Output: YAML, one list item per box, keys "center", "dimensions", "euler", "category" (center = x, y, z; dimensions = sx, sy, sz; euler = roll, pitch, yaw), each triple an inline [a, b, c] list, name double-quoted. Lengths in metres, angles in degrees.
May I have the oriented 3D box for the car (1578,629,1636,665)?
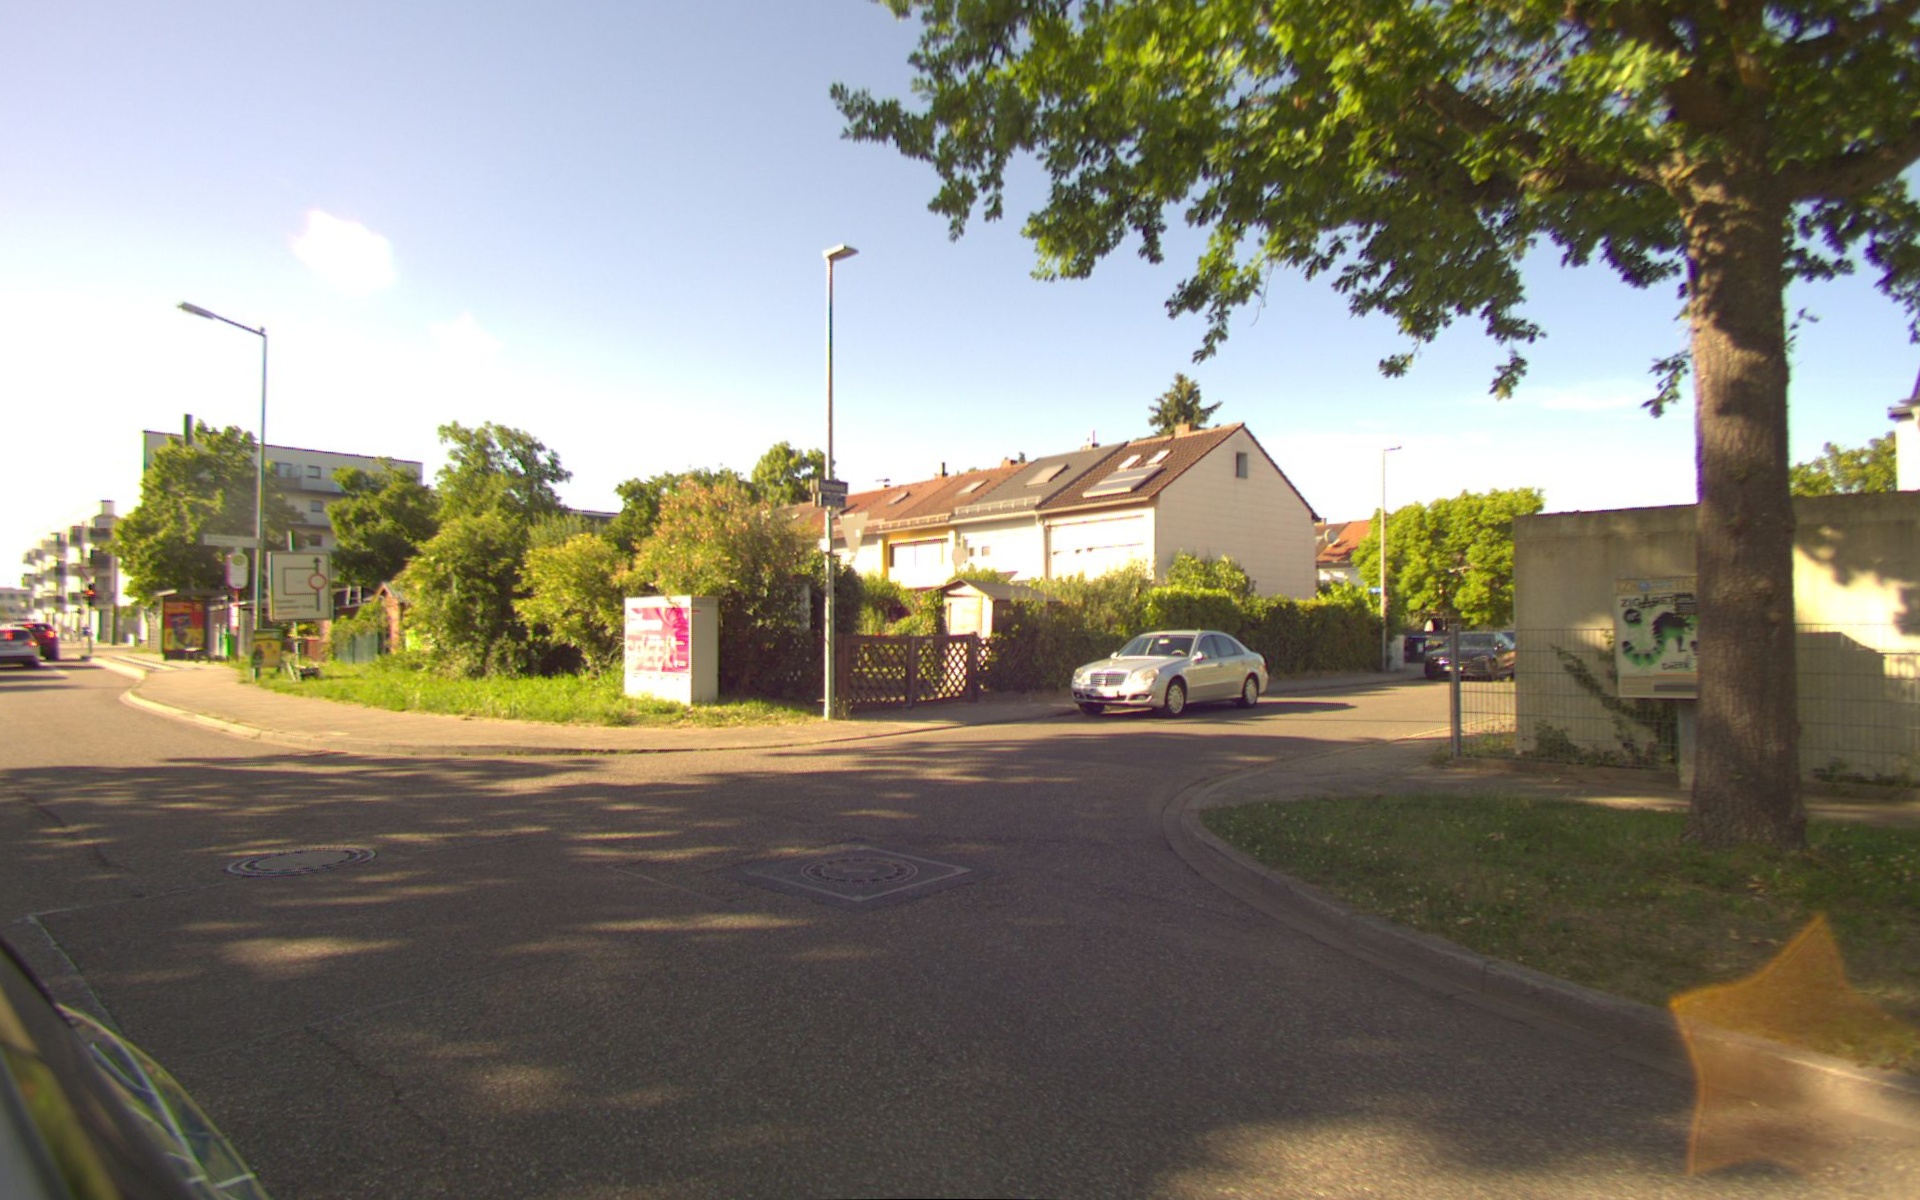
- center: [29.221, 2.094, 45.652]
  dimensions: [1.830, 1.497, 3.948]
  euler: [1, -1, 38]
  category: "car"

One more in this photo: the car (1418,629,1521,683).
- center: [15.339, 1.639, 30.391]
  dimensions: [1.998, 1.497, 3.948]
  euler: [-1, -2, 38]
  category: "car"

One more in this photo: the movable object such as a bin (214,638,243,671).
- center: [-23.236, 1.716, 32.146]
  dimensions: [0.558, 0.975, 0.586]
  euler: [-2, 2, 44]
  category: "movable object such as a bin"

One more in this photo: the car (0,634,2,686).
- center: [-29.493, 1.752, 29.389]
  dimensions: [4.447, 1.454, 1.973]
  euler: [-2, -1, 40]
  category: "car"

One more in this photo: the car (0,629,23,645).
- center: [-101.418, 3.907, 107.821]
  dimensions: [3.999, 1.565, 1.972]
  euler: [1, -1, 42]
  category: "car"

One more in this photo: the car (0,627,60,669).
- center: [-37.622, 1.883, 40.639]
  dimensions: [4.182, 1.601, 1.918]
  euler: [-2, -2, 44]
  category: "car"

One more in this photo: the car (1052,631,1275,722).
- center: [3.683, 1.257, 17.820]
  dimensions: [1.923, 1.396, 4.300]
  euler: [-3, -3, 42]
  category: "car"

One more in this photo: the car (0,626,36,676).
- center: [-33.482, 1.732, 34.949]
  dimensions: [2.183, 1.603, 4.538]
  euler: [1, -1, -44]
  category: "car"
